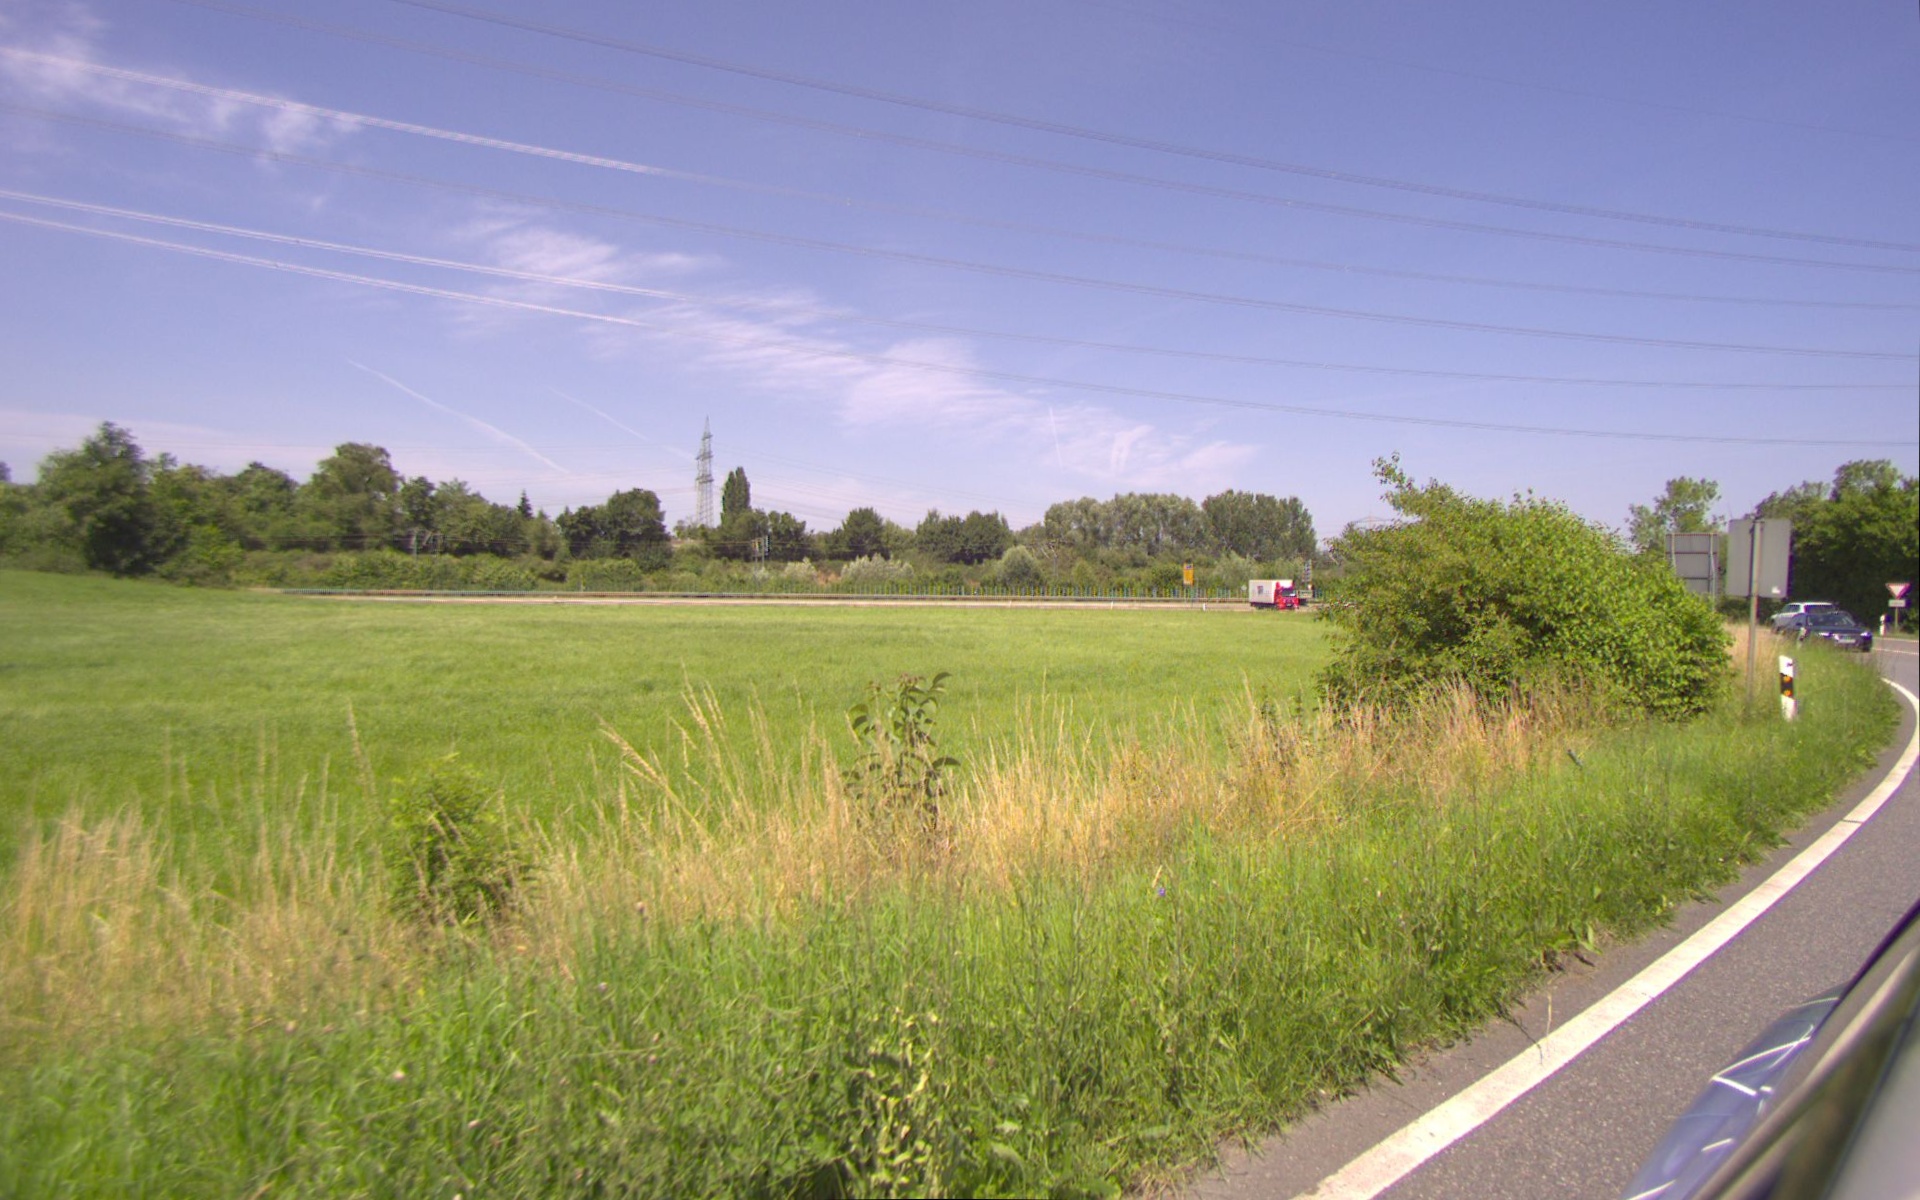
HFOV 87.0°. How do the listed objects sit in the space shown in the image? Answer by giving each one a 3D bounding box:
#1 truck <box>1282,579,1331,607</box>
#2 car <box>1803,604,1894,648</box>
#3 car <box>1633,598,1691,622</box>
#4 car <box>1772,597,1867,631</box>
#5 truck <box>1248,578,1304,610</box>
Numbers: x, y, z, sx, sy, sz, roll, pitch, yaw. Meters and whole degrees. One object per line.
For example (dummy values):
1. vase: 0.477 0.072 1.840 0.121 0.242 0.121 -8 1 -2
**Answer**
1. truck: 44.823 -0.922 131.012 2.556 3.515 7.623 1 0 -11
2. car: 32.739 0.915 37.395 1.811 1.458 4.102 1 1 32
3. car: 47.436 0.664 68.450 1.513 1.461 3.604 -2 1 3
4. car: 42.619 0.681 50.300 1.836 1.622 4.750 -1 -1 18
5. truck: 37.715 -0.811 121.301 2.670 3.624 9.569 -1 1 -7
